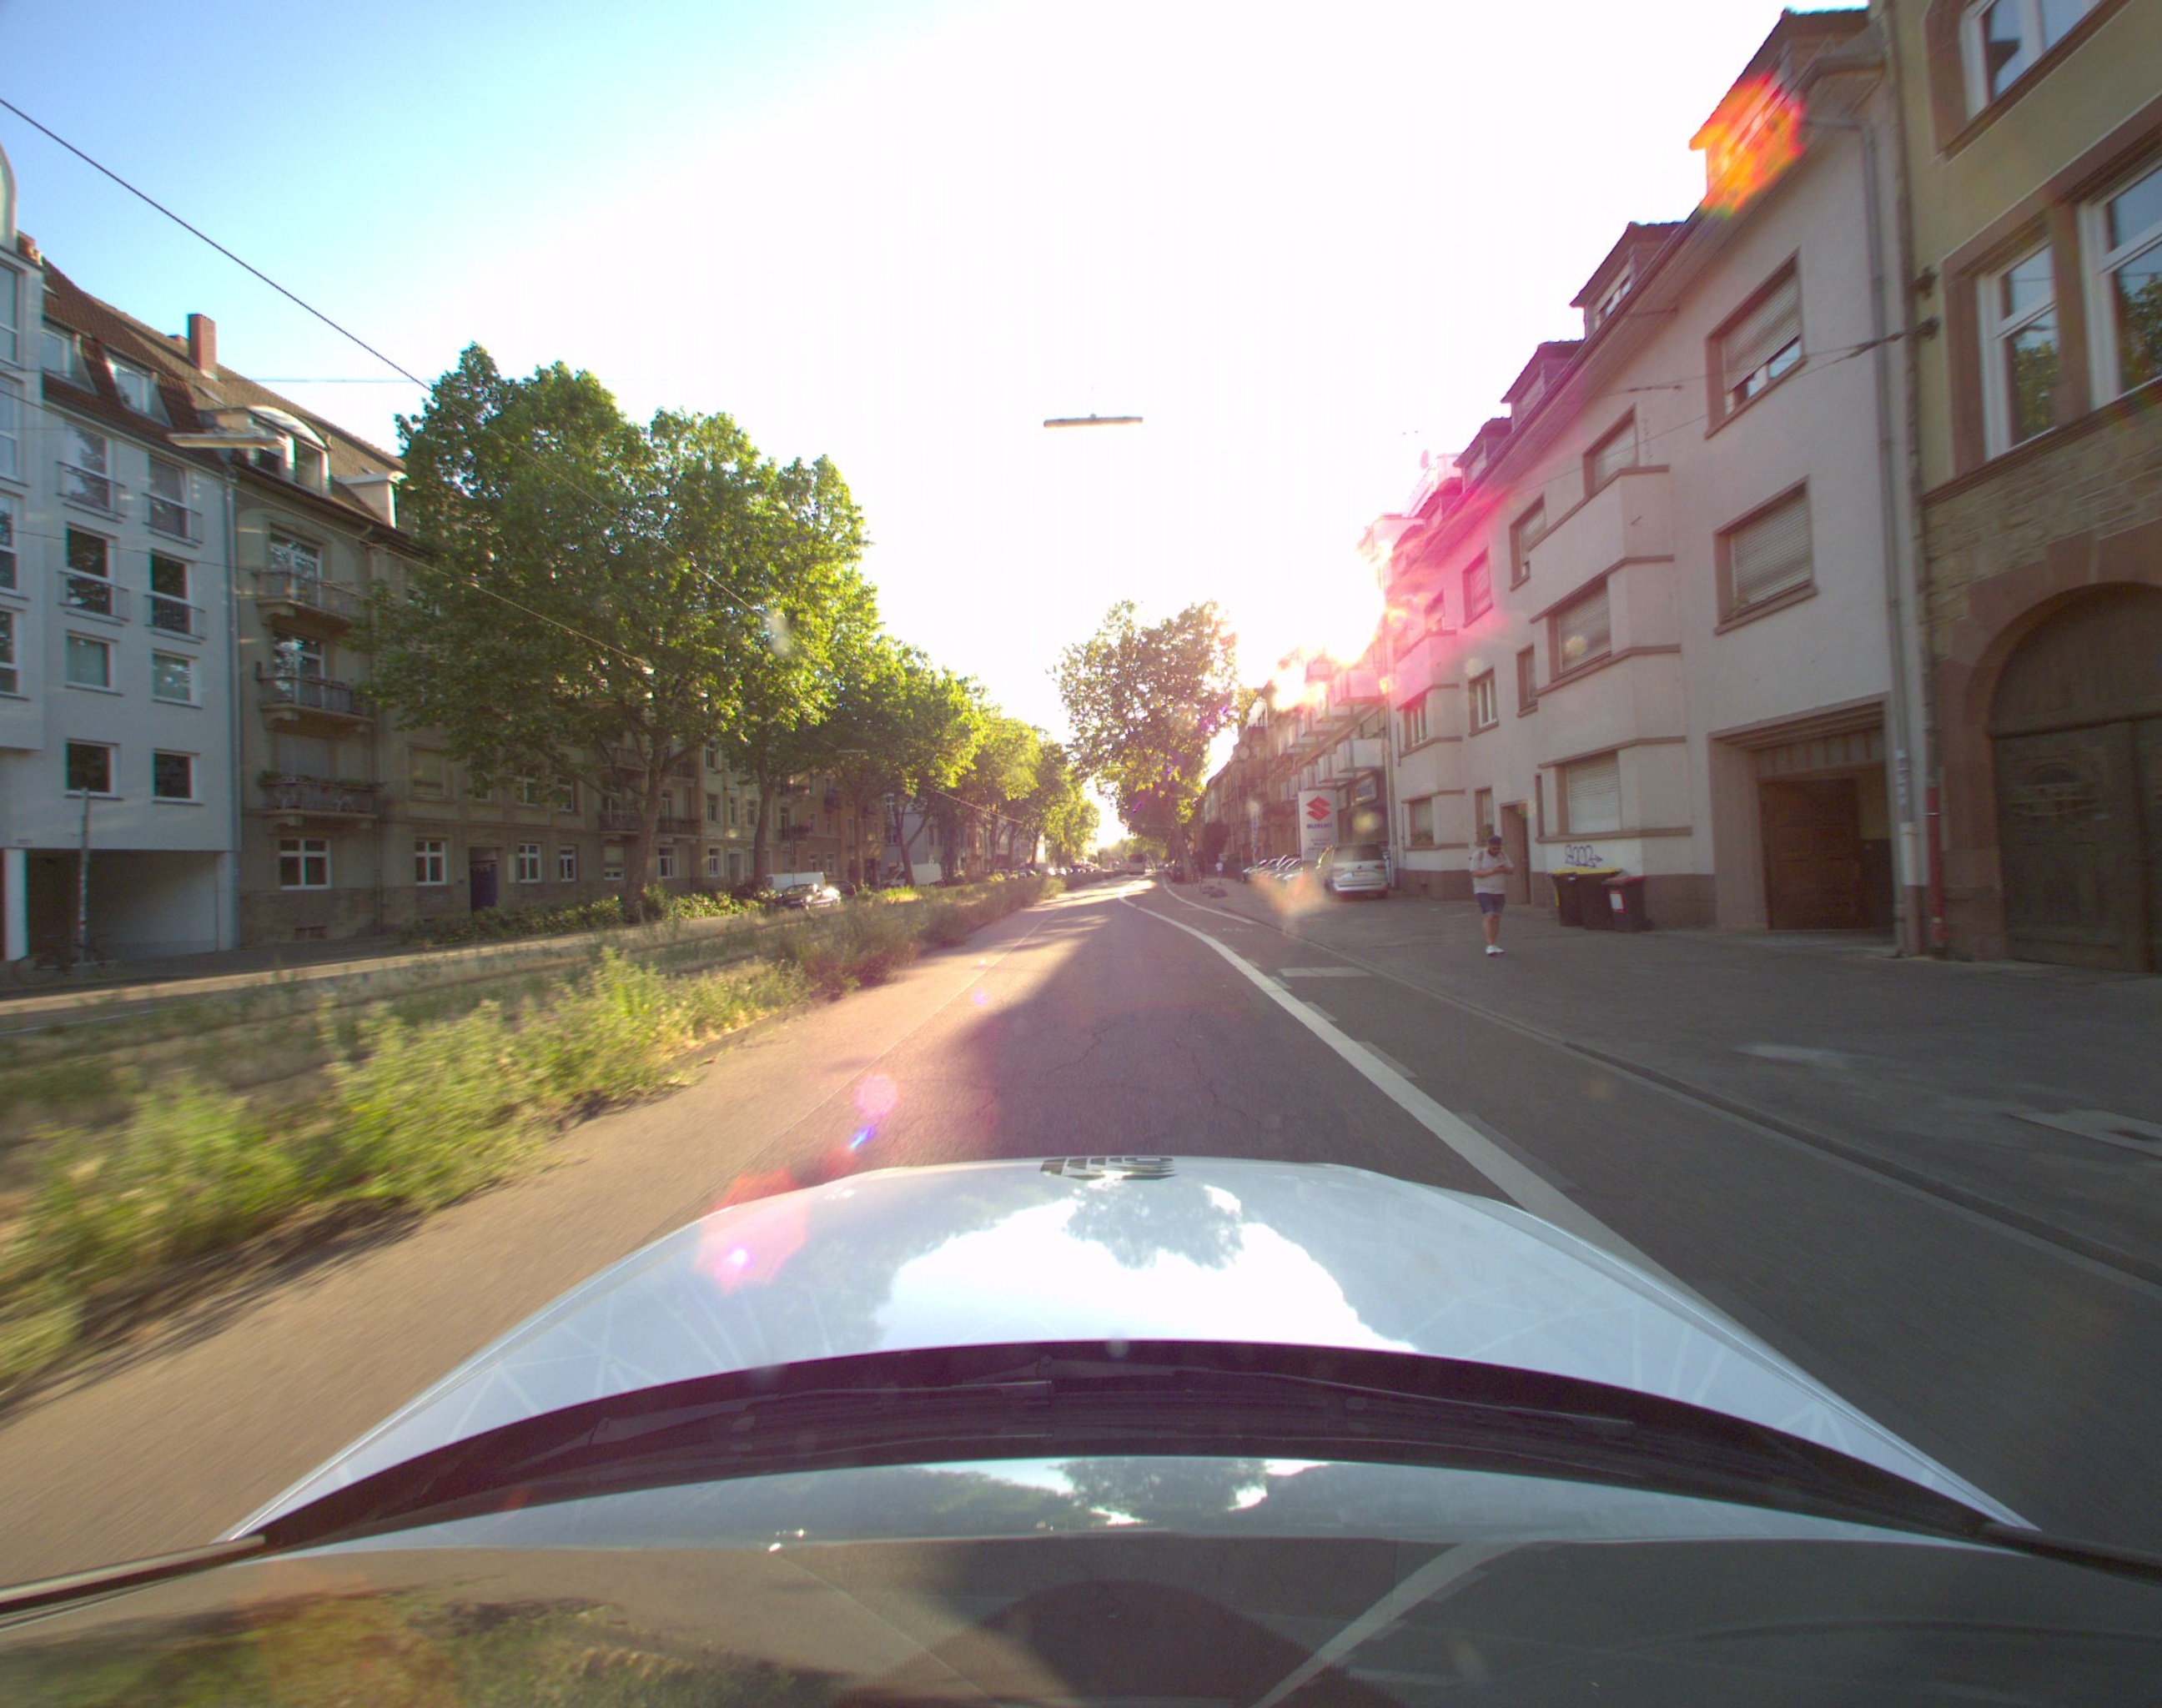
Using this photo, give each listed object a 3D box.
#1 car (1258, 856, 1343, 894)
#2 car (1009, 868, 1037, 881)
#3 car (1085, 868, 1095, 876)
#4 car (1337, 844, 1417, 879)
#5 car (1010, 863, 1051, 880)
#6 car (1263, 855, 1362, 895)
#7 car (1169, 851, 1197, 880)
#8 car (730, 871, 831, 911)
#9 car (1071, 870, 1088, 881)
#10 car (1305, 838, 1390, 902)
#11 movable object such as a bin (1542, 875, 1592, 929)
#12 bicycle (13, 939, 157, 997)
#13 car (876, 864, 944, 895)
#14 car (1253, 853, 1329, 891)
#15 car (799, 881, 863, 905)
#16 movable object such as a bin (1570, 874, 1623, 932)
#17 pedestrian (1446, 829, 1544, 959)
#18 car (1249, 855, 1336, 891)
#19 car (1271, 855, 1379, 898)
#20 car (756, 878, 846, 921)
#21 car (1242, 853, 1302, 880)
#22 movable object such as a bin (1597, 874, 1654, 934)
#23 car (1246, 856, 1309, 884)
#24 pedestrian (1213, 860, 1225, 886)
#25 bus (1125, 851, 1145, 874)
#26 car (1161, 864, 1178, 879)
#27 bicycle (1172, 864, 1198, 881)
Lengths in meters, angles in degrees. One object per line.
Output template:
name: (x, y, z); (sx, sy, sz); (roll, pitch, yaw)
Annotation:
car: (10.100, 0.957, 37.674); (3.406, 1.525, 1.741); (-3, -1, 1)
car: (-9.231, 3.314, 129.728); (4.009, 1.699, 1.840); (-4, -1, -27)
car: (1.898, 3.834, 173.496); (1.781, 1.574, 4.006); (-3, -1, 6)
car: (15.549, 0.421, 42.913); (1.627, 1.656, 3.557); (-2, -1, -42)
car: (-9.036, 3.122, 145.401); (6.952, 2.678, 2.173); (-2, -2, -16)
car: (10.045, 0.901, 35.553); (3.852, 1.514, 1.811); (-3, 0, 3)
car: (8.475, 0.991, 67.990); (1.984, 2.257, 5.240); (-3, -2, 4)
car: (-17.691, 2.133, 48.042); (5.271, 2.066, 1.702); (-2, -1, -37)
car: (-0.268, 3.758, 141.812); (1.871, 1.694, 4.755); (-2, -2, -12)
car: (9.162, 0.573, 28.383); (1.882, 1.948, 4.911); (-3, -2, 8)
movable object such as a bin: (9.041, 0.882, 15.168); (0.551, 0.969, 0.586); (-3, -2, 7)
bicycle: (-22.691, 2.571, 18.607); (0.751, 1.033, 1.904); (3, 0, 19)
car: (-15.325, 2.299, 73.189); (5.534, 2.529, 2.102); (-2, -1, -37)
car: (10.762, 0.911, 41.957); (3.562, 1.720, 1.685); (-3, 0, 7)
car: (-16.775, 2.613, 54.691); (3.746, 1.422, 1.702); (-2, -1, -37)
movable object such as a bin: (9.059, 0.856, 14.326); (0.551, 0.969, 0.586); (-3, -2, 7)
pedestrian: (6.146, 0.588, 12.152); (0.825, 1.813, 1.151); (-3, -2, 4)
car: (10.382, 0.941, 40.116); (3.803, 1.541, 1.861); (-3, -1, 3)
car: (9.815, 0.893, 32.963); (3.799, 1.501, 1.913); (-3, 0, -1)
car: (-11.664, 1.850, 34.272); (1.708, 1.486, 4.705); (-5, -1, 5)
car: (12.006, 0.810, 51.293); (3.404, 1.546, 1.443); (-3, -2, 2)
movable object such as a bin: (9.149, 0.833, 13.696); (0.551, 0.969, 0.586); (-3, -2, 7)
car: (11.786, 0.961, 49.012); (3.400, 1.519, 1.760); (-3, -2, 7)
pedestrian: (9.016, 1.259, 53.249); (0.660, 1.629, 0.924); (-3, -2, 5)
bus: (8.315, 1.417, 125.816); (2.822, 3.236, 8.187); (-3, -2, 3)
car: (11.807, 2.336, 108.452); (1.732, 1.770, 4.408); (-3, -2, 12)
bicycle: (7.550, 1.322, 59.256); (1.836, 1.143, 0.348); (-3, -2, 4)
